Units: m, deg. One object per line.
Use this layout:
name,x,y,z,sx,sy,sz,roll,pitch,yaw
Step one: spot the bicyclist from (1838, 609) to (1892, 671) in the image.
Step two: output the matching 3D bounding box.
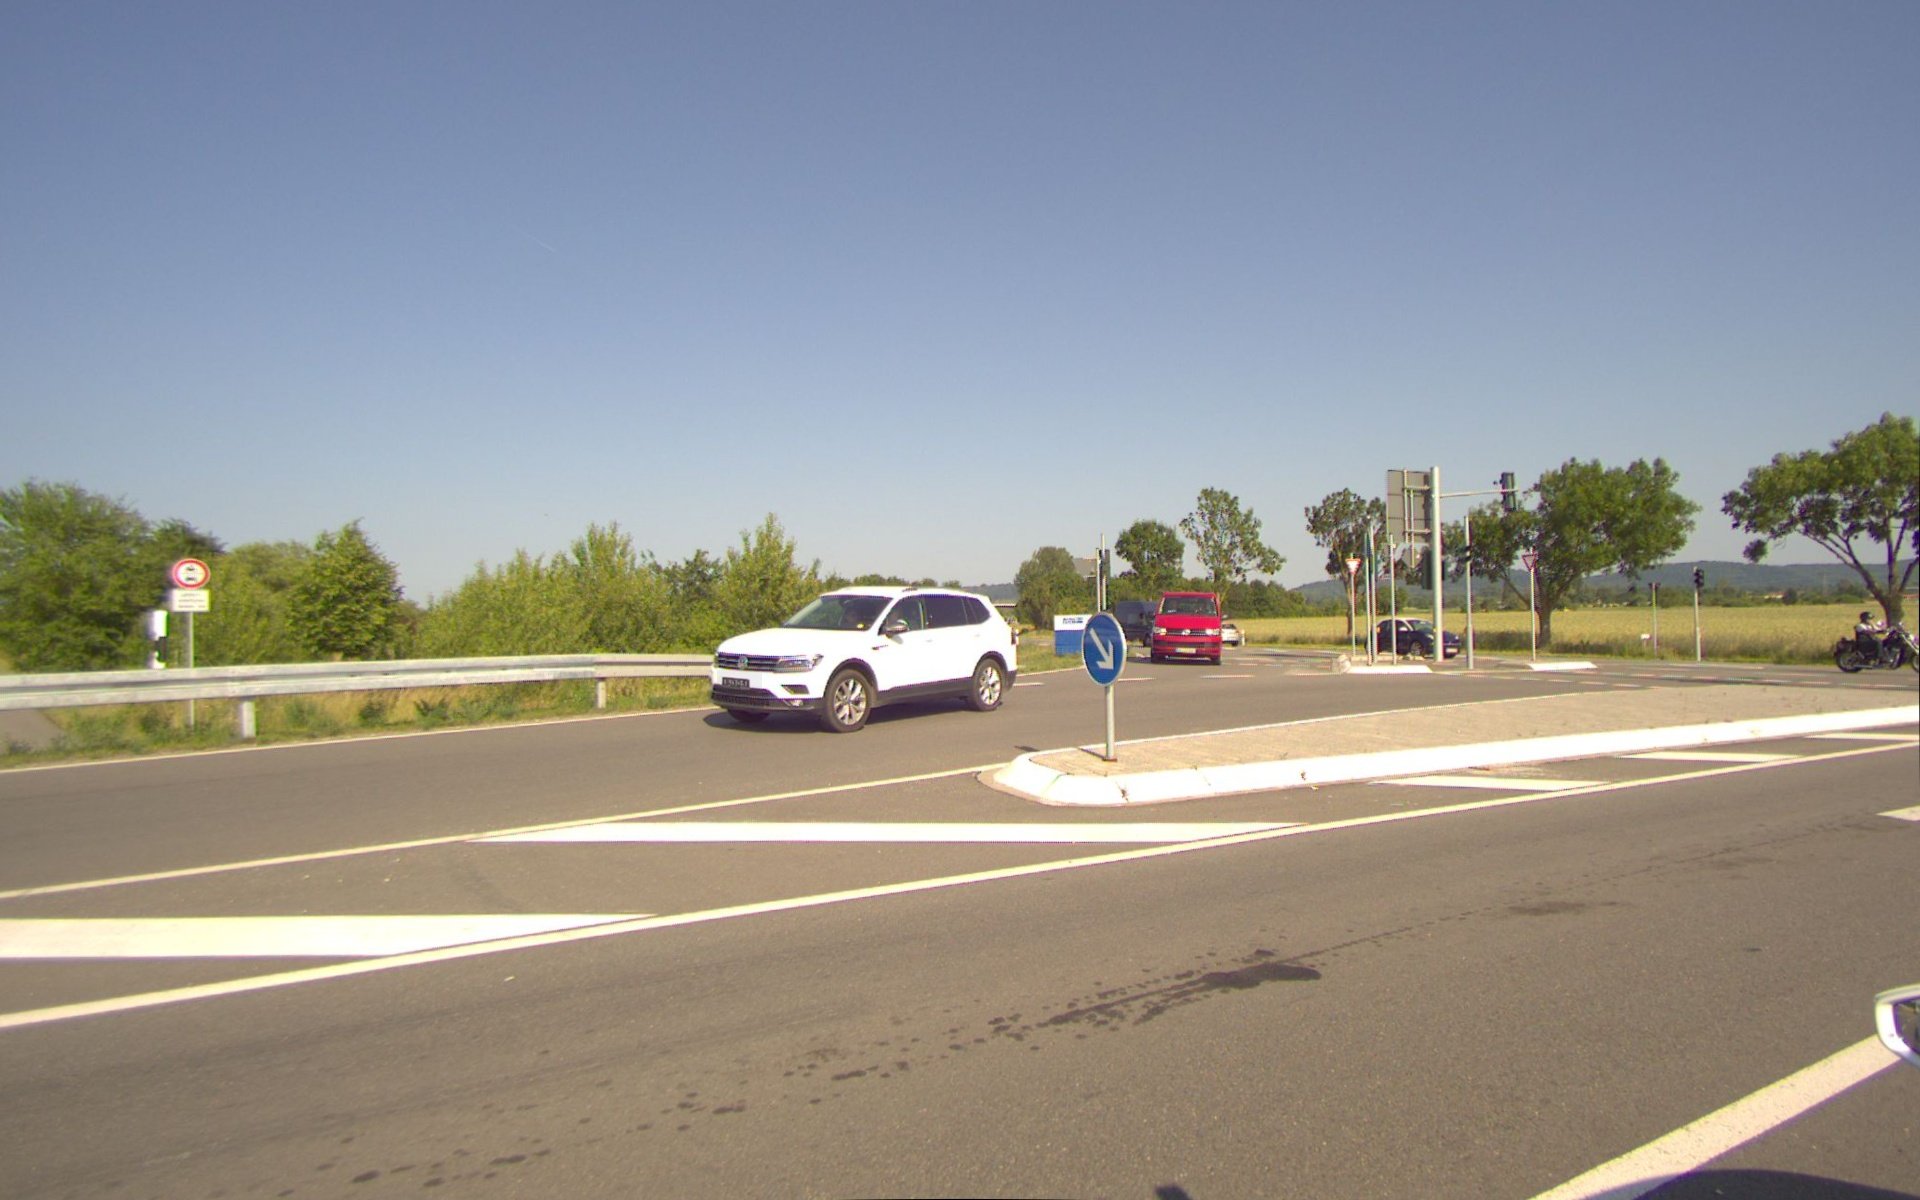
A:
bicyclist,22.726,0.983,25.233,0.748,1.509,0.804,1,0,-30

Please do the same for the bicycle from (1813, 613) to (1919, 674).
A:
bicycle,22.933,1.069,25.014,0.724,1.416,2.478,1,0,-31

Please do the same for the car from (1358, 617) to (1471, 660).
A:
car,16.842,1.410,37.420,1.702,1.476,3.723,-1,-1,-20

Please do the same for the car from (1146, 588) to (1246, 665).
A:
car,6.767,0.792,28.454,1.804,1.965,4.924,1,-2,24

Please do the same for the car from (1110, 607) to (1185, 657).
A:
car,10.672,1.805,57.606,1.999,2.657,5.734,0,-1,-14

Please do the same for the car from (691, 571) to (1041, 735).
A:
car,-0.945,0.674,12.873,1.669,1.695,4.848,1,-3,35
